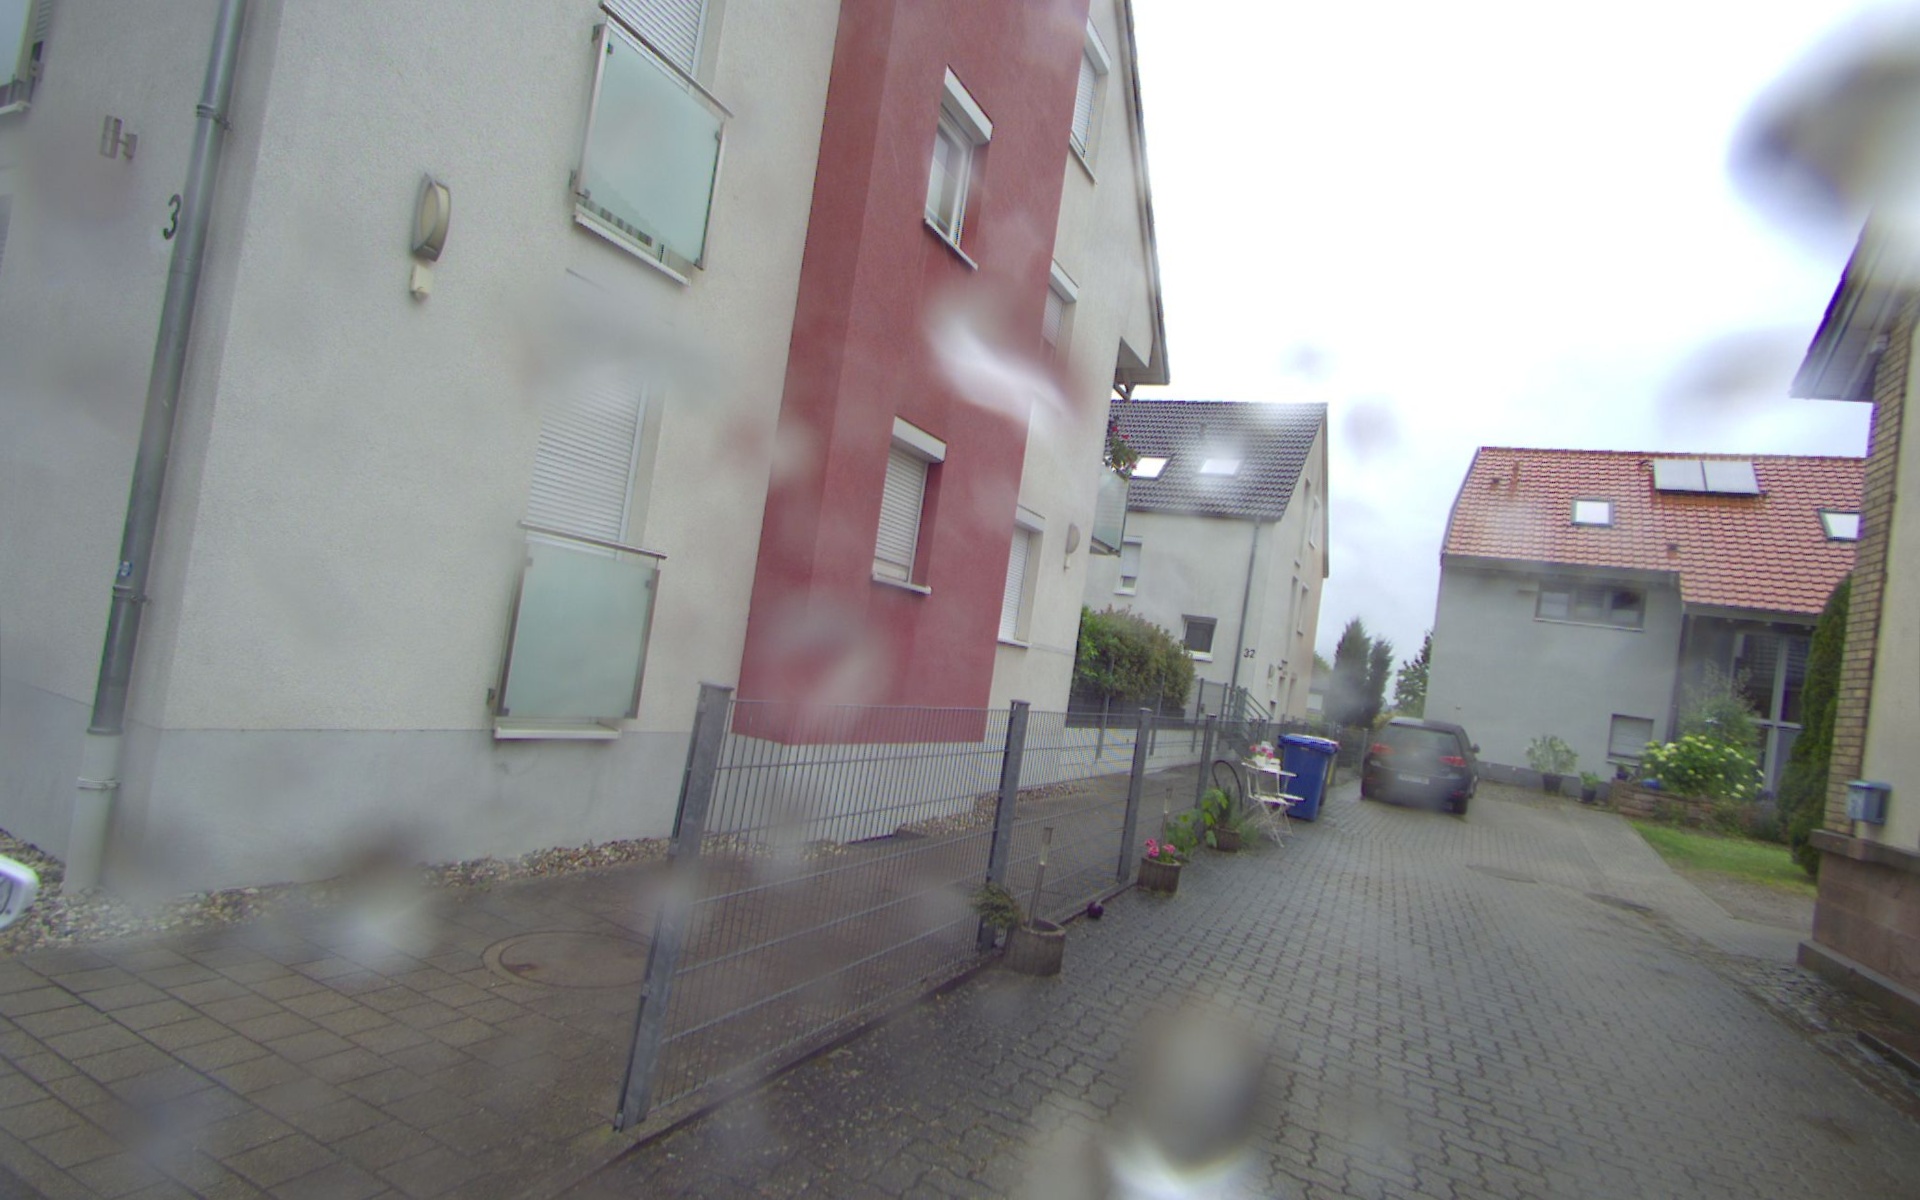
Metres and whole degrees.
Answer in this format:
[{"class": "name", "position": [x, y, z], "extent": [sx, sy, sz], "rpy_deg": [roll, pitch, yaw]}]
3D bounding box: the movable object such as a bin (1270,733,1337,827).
[{"class": "movable object such as a bin", "position": [4.590, 2.379, 13.420], "extent": [0.675, 1.108, 0.536], "rpy_deg": [7, -2, 25]}]

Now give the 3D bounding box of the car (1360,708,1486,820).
[{"class": "car", "position": [8.657, 2.927, 18.637], "extent": [1.656, 1.491, 3.993], "rpy_deg": [7, 0, 30]}]

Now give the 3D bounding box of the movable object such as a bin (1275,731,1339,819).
[{"class": "movable object such as a bin", "position": [4.905, 2.452, 14.211], "extent": [0.675, 1.108, 0.536], "rpy_deg": [7, -2, 25]}]
